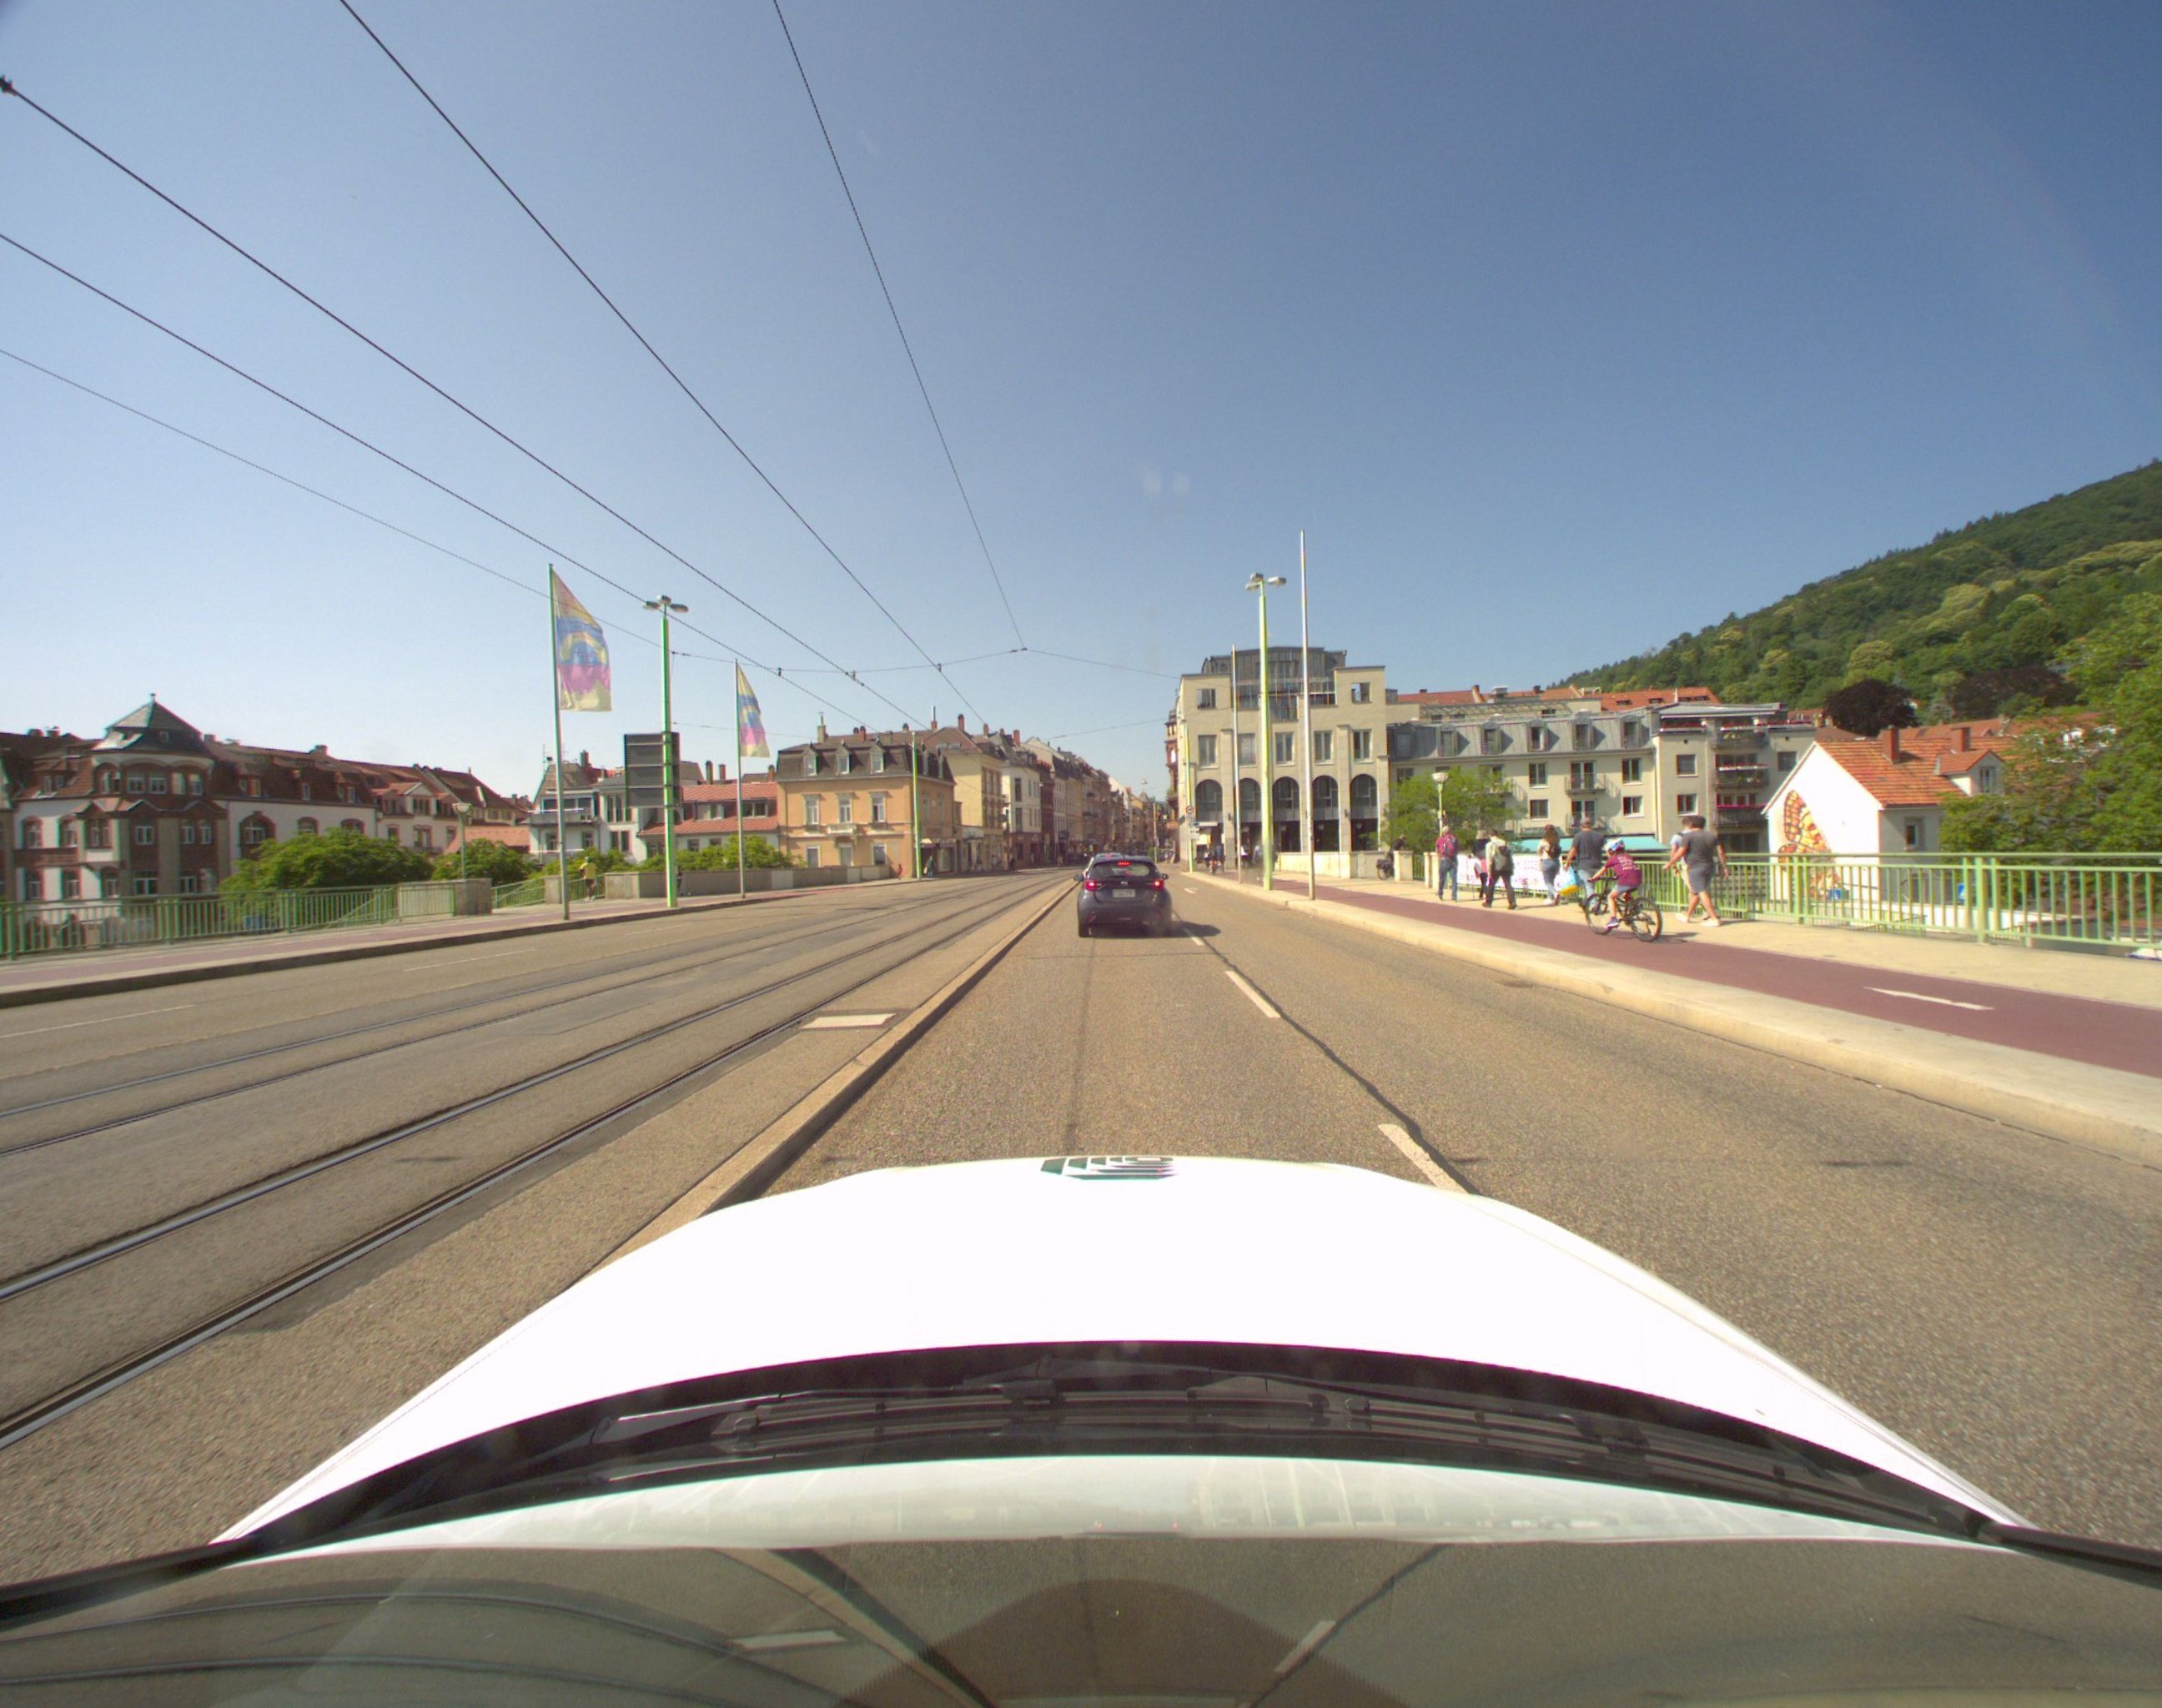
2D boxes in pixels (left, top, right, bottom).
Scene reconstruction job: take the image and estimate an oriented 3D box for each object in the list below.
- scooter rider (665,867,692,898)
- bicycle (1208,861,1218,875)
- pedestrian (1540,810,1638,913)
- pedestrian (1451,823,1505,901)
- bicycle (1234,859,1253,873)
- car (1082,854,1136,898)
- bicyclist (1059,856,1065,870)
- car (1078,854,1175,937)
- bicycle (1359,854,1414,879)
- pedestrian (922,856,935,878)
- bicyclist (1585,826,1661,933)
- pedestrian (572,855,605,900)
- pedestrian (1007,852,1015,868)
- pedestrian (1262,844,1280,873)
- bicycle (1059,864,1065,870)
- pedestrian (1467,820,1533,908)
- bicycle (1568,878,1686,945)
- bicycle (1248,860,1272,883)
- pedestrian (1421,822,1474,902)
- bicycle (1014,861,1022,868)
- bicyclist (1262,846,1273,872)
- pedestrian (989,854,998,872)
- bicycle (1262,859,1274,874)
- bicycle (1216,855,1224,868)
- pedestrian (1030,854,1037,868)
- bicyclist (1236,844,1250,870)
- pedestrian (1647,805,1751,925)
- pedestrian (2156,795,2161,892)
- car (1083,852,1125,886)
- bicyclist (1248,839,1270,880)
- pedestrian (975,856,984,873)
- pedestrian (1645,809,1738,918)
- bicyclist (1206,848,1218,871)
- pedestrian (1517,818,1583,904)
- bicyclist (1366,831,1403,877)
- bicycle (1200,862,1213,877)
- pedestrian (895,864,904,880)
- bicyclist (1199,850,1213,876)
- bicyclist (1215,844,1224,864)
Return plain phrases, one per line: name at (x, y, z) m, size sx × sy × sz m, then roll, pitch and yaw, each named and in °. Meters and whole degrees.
scooter rider at (-17.498, 1.232, 35.395) m, size 0.763 × 1.315 × 0.600 m, roll 2°, pitch 0°, yaw 13°
bicycle at (7.706, 0.805, 47.607) m, size 0.414 × 0.765 × 1.207 m, roll -3°, pitch 0°, yaw 4°
pedestrian at (9.332, 0.137, 15.023) m, size 0.974 × 1.777 × 1.208 m, roll -3°, pitch 0°, yaw 1°
pedestrian at (9.486, 0.177, 19.488) m, size 0.736 × 1.777 × 1.016 m, roll -3°, pitch 0°, yaw 1°
bicycle at (9.146, 0.678, 45.849) m, size 0.419 × 0.765 × 0.951 m, roll -3°, pitch 0°, yaw -37°
car at (1.056, 0.761, 30.620) m, size 1.890 × 1.530 × 4.002 m, roll 0°, pitch 0°, yaw 2°
bicyclist at (-2.339, 1.121, 100.665) m, size 0.625 × 1.650 × 0.622 m, roll 0°, pitch 1°, yaw 2°
car at (0.866, 0.736, 16.343) m, size 1.713 × 1.473 × 3.659 m, roll 0°, pitch 0°, yaw 2°
bicycle at (11.860, 0.466, 31.639) m, size 1.817 × 0.882 × 0.799 m, roll -3°, pitch 0°, yaw -2°
pedestrian at (-11.810, 1.034, 63.133) m, size 0.758 × 1.654 × 0.713 m, roll 3°, pitch 0°, yaw 8°
bicyclist at (7.383, 0.341, 11.117) m, size 0.532 × 1.383 × 0.669 m, roll -3°, pitch 0°, yaw 2°
pedestrian at (-20.066, 0.949, 33.191) m, size 0.741 × 1.781 × 0.804 m, roll -2°, pitch 0°, yaw 10°
pedestrian at (-7.747, 0.640, 90.578) m, size 0.734 × 1.766 × 0.787 m, roll -1°, pitch 1°, yaw 1°
pedestrian at (10.952, 0.270, 47.009) m, size 0.736 × 1.615 × 1.016 m, roll 3°, pitch 0°, yaw 2°
bicycle at (-2.350, 1.641, 100.784) m, size 0.618 × 0.716 × 1.772 m, roll 0°, pitch 1°, yaw 2°
pedestrian at (8.682, 0.202, 16.918) m, size 0.752 × 1.718 × 1.073 m, roll -3°, pitch 0°, yaw 2°
bicycle at (7.409, 0.753, 11.134) m, size 0.512 × 0.765 × 1.661 m, roll -3°, pitch 0°, yaw 2°
bicycle at (7.515, 0.722, 34.290) m, size 0.701 × 0.882 × 1.526 m, roll -3°, pitch 0°, yaw 3°
pedestrian at (8.718, 0.188, 19.420) m, size 0.736 × 1.802 × 1.016 m, roll -3°, pitch 0°, yaw 1°
bicycle at (-7.029, 1.152, 90.686) m, size 0.618 × 0.716 × 1.772 m, roll -1°, pitch 1°, yaw 2°
bicyclist at (9.942, 0.266, 43.315) m, size 0.420 × 1.383 × 0.444 m, roll -3°, pitch 0°, yaw 2°
pedestrian at (-8.881, 0.890, 82.403) m, size 0.733 × 1.766 × 0.787 m, roll 3°, pitch 0°, yaw 2°
bicycle at (9.964, 0.637, 43.307) m, size 0.415 × 0.765 × 0.962 m, roll -3°, pitch 0°, yaw 2°
bicycle at (8.655, 0.445, 50.739) m, size 0.414 × 0.765 × 0.963 m, roll -3°, pitch 0°, yaw 5°
pedestrian at (-6.055, 0.858, 103.127) m, size 0.733 × 1.766 × 0.787 m, roll -1°, pitch 1°, yaw 2°
bicyclist at (9.122, 0.169, 45.833) m, size 0.487 × 1.466 × 0.438 m, roll -3°, pitch -1°, yaw -37°
pedestrian at (9.444, 0.162, 12.485) m, size 0.736 × 1.718 × 1.016 m, roll -3°, pitch 0°, yaw 1°
pedestrian at (8.261, 0.312, 5.449) m, size 0.826 × 1.530 × 0.933 m, roll -3°, pitch 0°, yaw 1°
car at (1.104, 0.700, 38.813) m, size 1.890 × 1.530 × 4.002 m, roll 0°, pitch 0°, yaw 2°
bicyclist at (7.494, 0.239, 34.324) m, size 0.699 × 1.695 × 0.925 m, roll -3°, pitch 0°, yaw 2°
pedestrian at (-9.664, 0.971, 77.565) m, size 0.646 × 1.602 × 0.566 m, roll 3°, pitch 2°, yaw 2°
pedestrian at (10.150, 0.155, 13.571) m, size 0.736 × 1.718 × 1.016 m, roll -2°, pitch 0°, yaw 2°
bicyclist at (7.660, 0.315, 47.511) m, size 0.536 × 1.316 × 0.672 m, roll -4°, pitch 0°, yaw 3°
pedestrian at (9.989, 0.146, 17.372) m, size 0.736 × 1.746 × 1.016 m, roll -3°, pitch 0°, yaw 1°
bicyclist at (11.771, -0.001, 31.649) m, size 0.919 × 1.695 × 1.142 m, roll -2°, pitch 0°, yaw -1°
bicycle at (12.963, 1.575, 84.346) m, size 1.107 × 1.420 × 3.011 m, roll 3°, pitch 0°, yaw 5°
pedestrian at (-13.398, 1.321, 60.101) m, size 0.409 × 1.146 × 0.546 m, roll 3°, pitch 0°, yaw 8°
bicyclist at (12.981, 0.923, 84.457) m, size 1.222 × 2.529 × 1.106 m, roll 3°, pitch 0°, yaw 5°
bicyclist at (8.636, 0.007, 50.777) m, size 0.420 × 1.256 × 0.444 m, roll -3°, pitch 0°, yaw 5°
